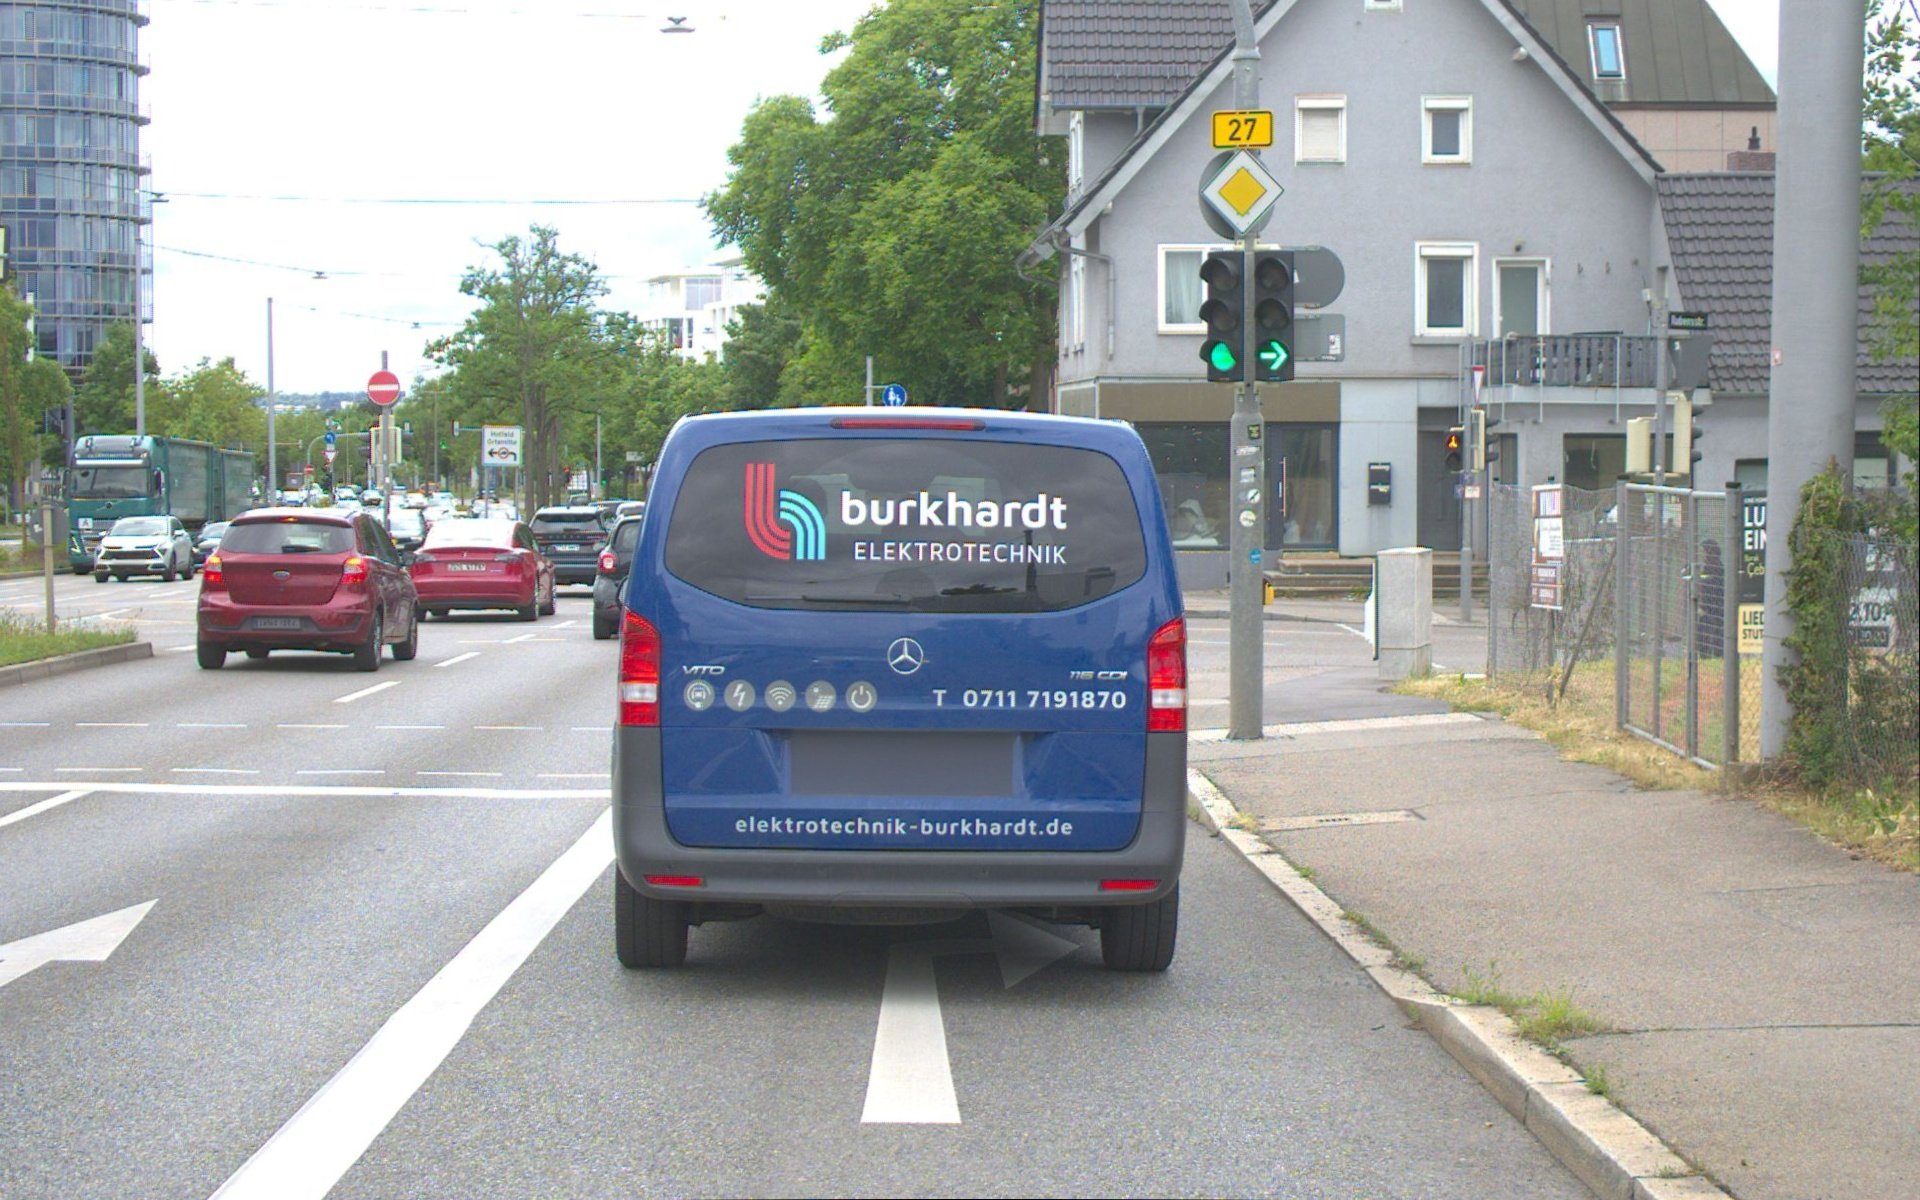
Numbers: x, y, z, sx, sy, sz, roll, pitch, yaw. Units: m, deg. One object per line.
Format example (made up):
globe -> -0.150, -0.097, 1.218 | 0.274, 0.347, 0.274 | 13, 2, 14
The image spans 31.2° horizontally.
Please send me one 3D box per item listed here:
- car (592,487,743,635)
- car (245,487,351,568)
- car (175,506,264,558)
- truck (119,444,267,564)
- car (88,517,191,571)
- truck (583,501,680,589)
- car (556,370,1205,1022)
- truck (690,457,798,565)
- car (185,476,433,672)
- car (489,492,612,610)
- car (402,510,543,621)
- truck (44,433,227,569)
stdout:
car -> -3.563, -0.511, 42.215 | 1.746, 1.717, 4.001 | -1, 2, -4
car -> -16.925, -1.869, 88.084 | 1.993, 2.007, 4.180 | -1, 1, -2
car -> -20.768, -1.921, 96.544 | 1.797, 1.412, 4.001 | -1, 1, -3
truck -> -24.800, -3.082, 111.547 | 3.367, 3.714, 8.028 | -1, 1, -3
car -> -20.108, -1.383, 84.365 | 1.829, 1.258, 4.001 | -1, 1, -4
truck -> -8.453, -1.444, 88.938 | 1.993, 2.158, 5.560 | 2, 1, -1
car -> -0.289, 0.242, 12.701 | 1.948, 1.959, 4.542 | 1, 1, -1
truck -> -4.574, -1.892, 73.407 | 1.993, 2.158, 5.560 | 2, 1, -1
car -> -6.258, -0.294, 33.437 | 1.746, 1.717, 4.001 | 2, 2, -3
car -> -7.533, -0.929, 63.019 | 1.993, 2.006, 4.002 | 1, 2, -10
car -> -7.033, -0.463, 49.321 | 1.868, 1.481, 4.001 | -1, 0, -10
truck -> -24.026, -2.861, 100.802 | 3.367, 3.714, 11.282 | 1, 1, -4
